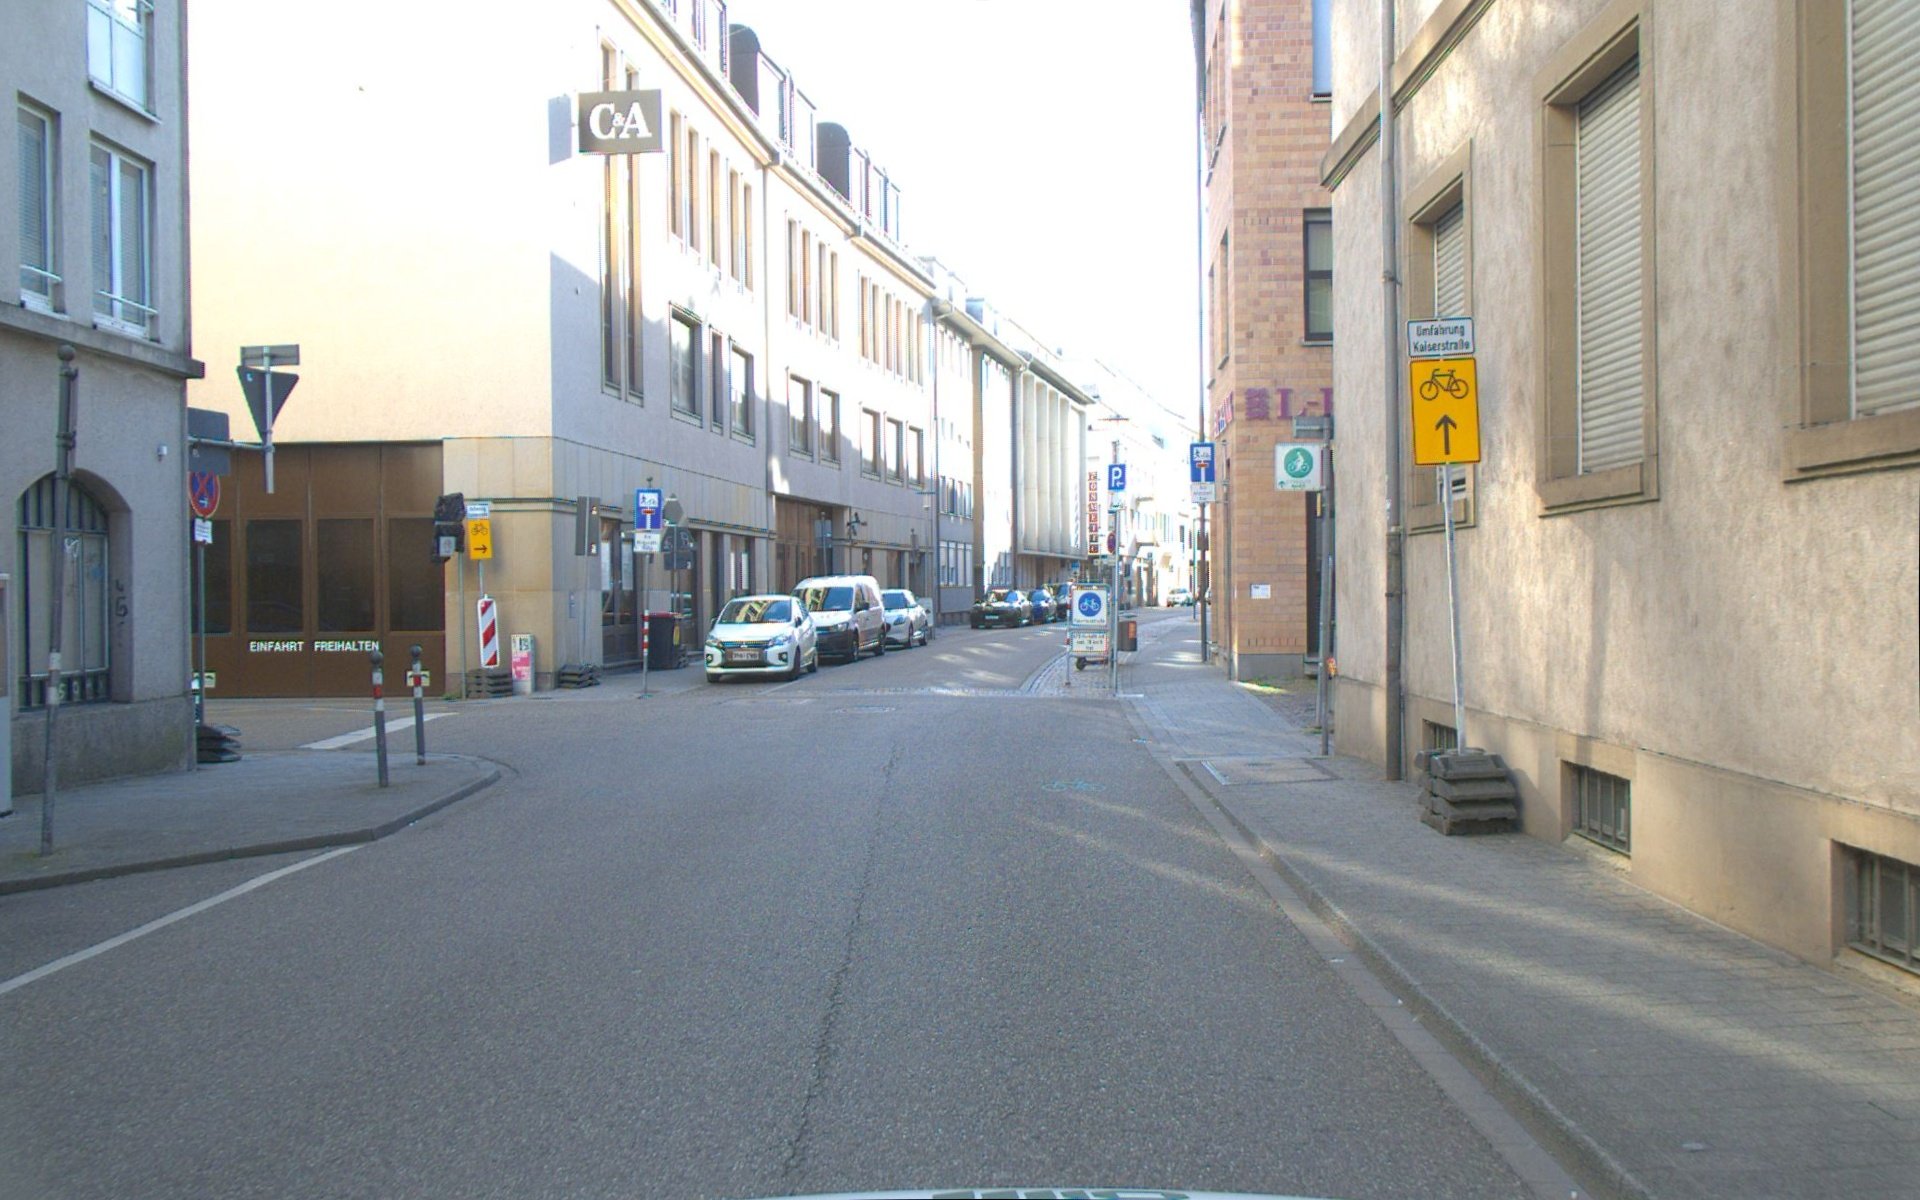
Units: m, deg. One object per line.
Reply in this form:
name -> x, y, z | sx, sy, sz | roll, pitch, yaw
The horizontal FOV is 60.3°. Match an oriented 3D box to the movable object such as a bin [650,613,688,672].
movable object such as a bin -> -5.539, 0.804, 31.497 | 0.596, 1.079, 0.713 | 1, 0, -1

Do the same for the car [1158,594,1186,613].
car -> 15.957, 0.254, 124.253 | 1.653, 1.394, 3.621 | -1, 1, 13

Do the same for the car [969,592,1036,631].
car -> 1.648, 0.424, 62.661 | 1.841, 1.355, 4.104 | -1, 1, 11

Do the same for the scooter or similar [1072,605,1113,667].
scooter or similar -> 2.513, 0.677, 31.429 | 0.754, 1.156, 0.269 | 1, 0, 4

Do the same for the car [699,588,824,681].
car -> -3.561, 0.579, 30.292 | 1.636, 1.533, 3.795 | -2, 0, 2

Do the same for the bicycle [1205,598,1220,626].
bicycle -> 9.639, 0.442, 63.215 | 0.500, 1.011, 2.650 | -1, 1, 8

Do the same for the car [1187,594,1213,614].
car -> 18.011, 0.282, 124.023 | 1.653, 1.394, 3.621 | -1, 1, 13

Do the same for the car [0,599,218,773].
car -> -10.055, 0.884, 18.323 | 3.923, 1.684, 1.755 | -1, 0, 39

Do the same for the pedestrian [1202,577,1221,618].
pedestrian -> 10.910, -0.104, 71.721 | 0.651, 1.760, 0.840 | 1, 0, 1

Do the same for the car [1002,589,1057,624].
car -> 2.927, 0.246, 69.072 | 1.687, 1.364, 4.004 | -1, 1, 11

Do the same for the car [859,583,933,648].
car -> -1.609, 0.371, 42.299 | 1.244, 1.533, 3.404 | -2, 0, 8

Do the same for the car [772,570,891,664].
car -> -2.727, 0.320, 36.138 | 1.635, 1.850, 4.555 | -2, 0, 7

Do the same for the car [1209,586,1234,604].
car -> 20.683, -0.414, 130.519 | 1.653, 1.394, 3.621 | -1, 1, 13

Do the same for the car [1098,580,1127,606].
car -> 9.165, -0.415, 99.243 | 1.310, 1.520, 3.350 | -1, 0, 11
